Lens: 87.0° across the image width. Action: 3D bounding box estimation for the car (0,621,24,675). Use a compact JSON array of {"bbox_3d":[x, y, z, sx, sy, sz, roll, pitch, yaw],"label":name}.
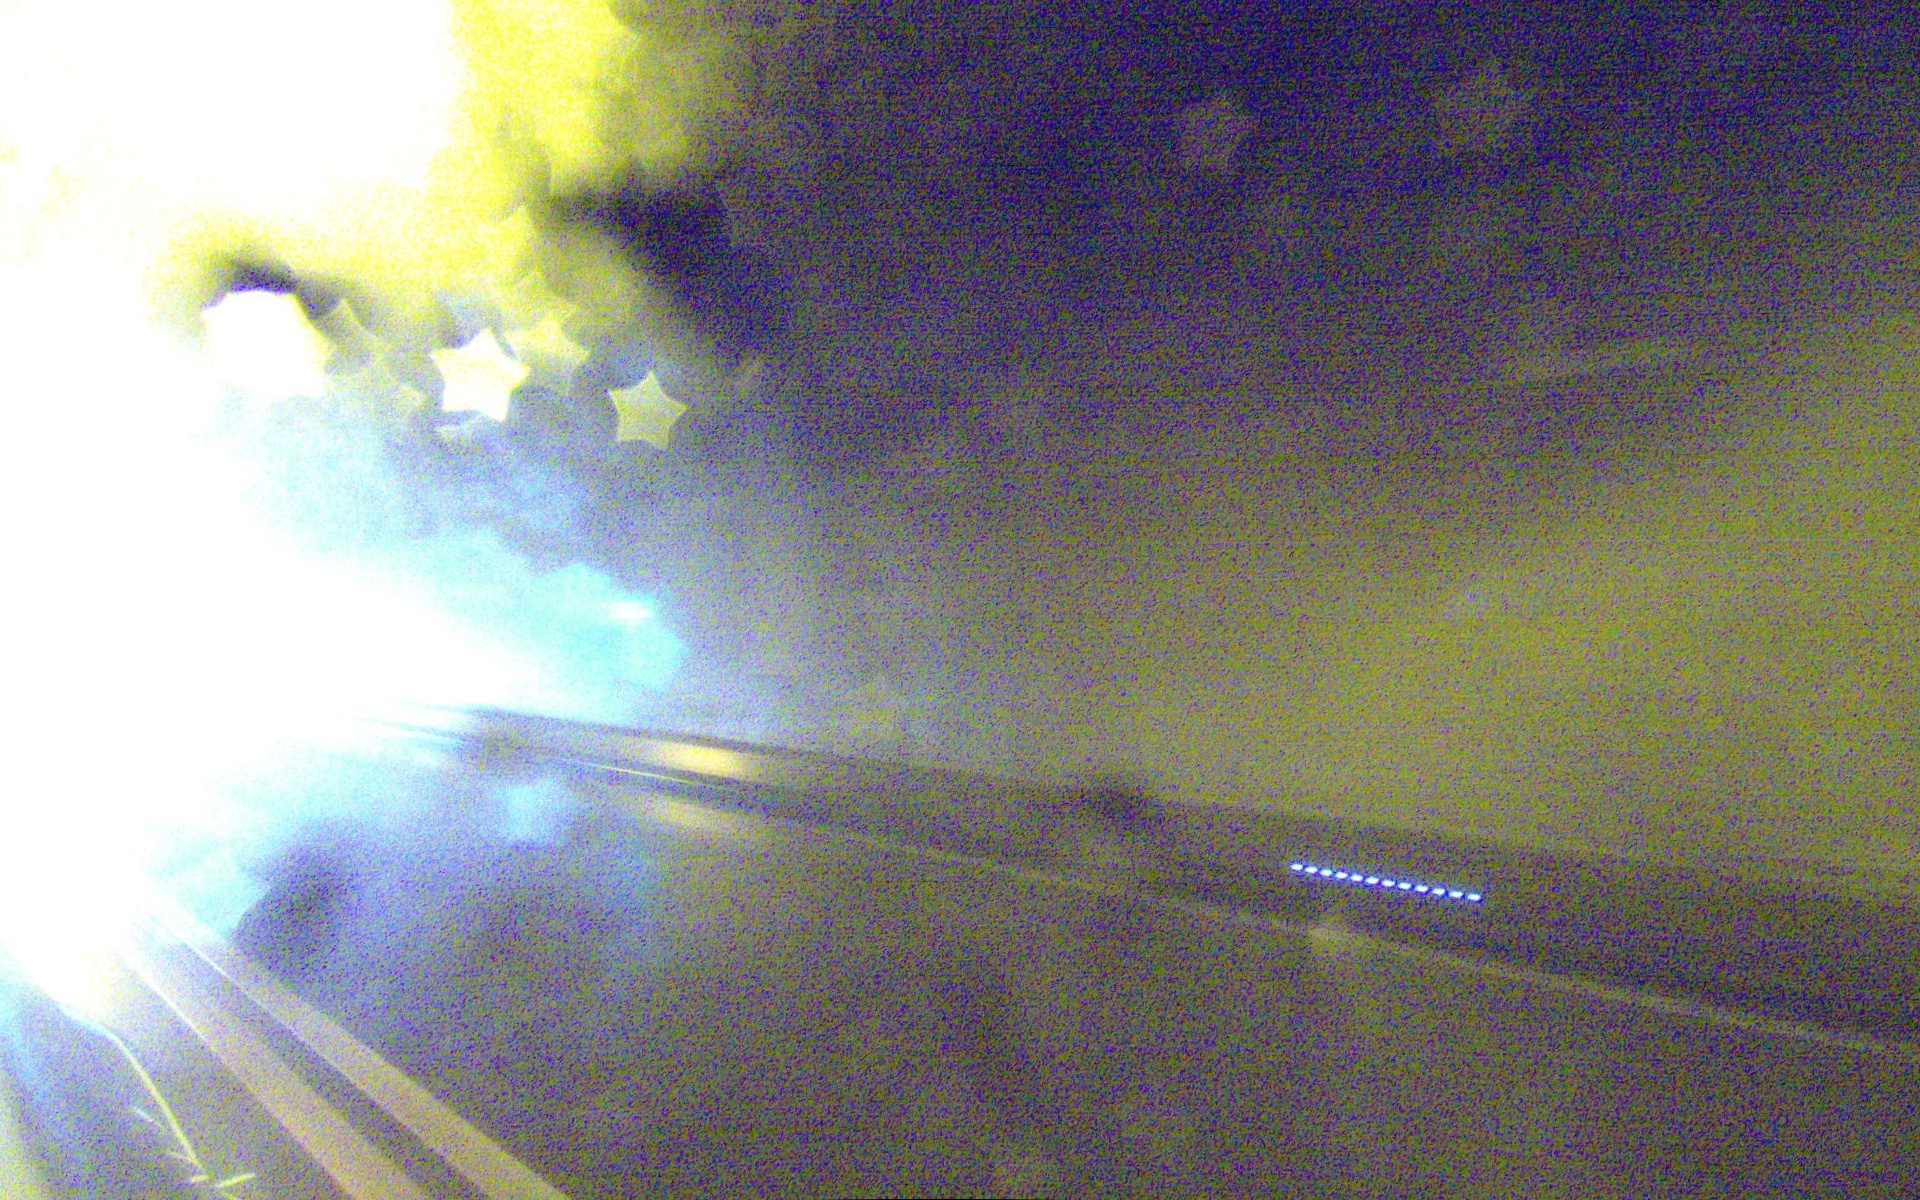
[{"bbox_3d":[-30.552,1.482,31.462,4.002,1.597,1.971,-1,0,45],"label":"car"}]
